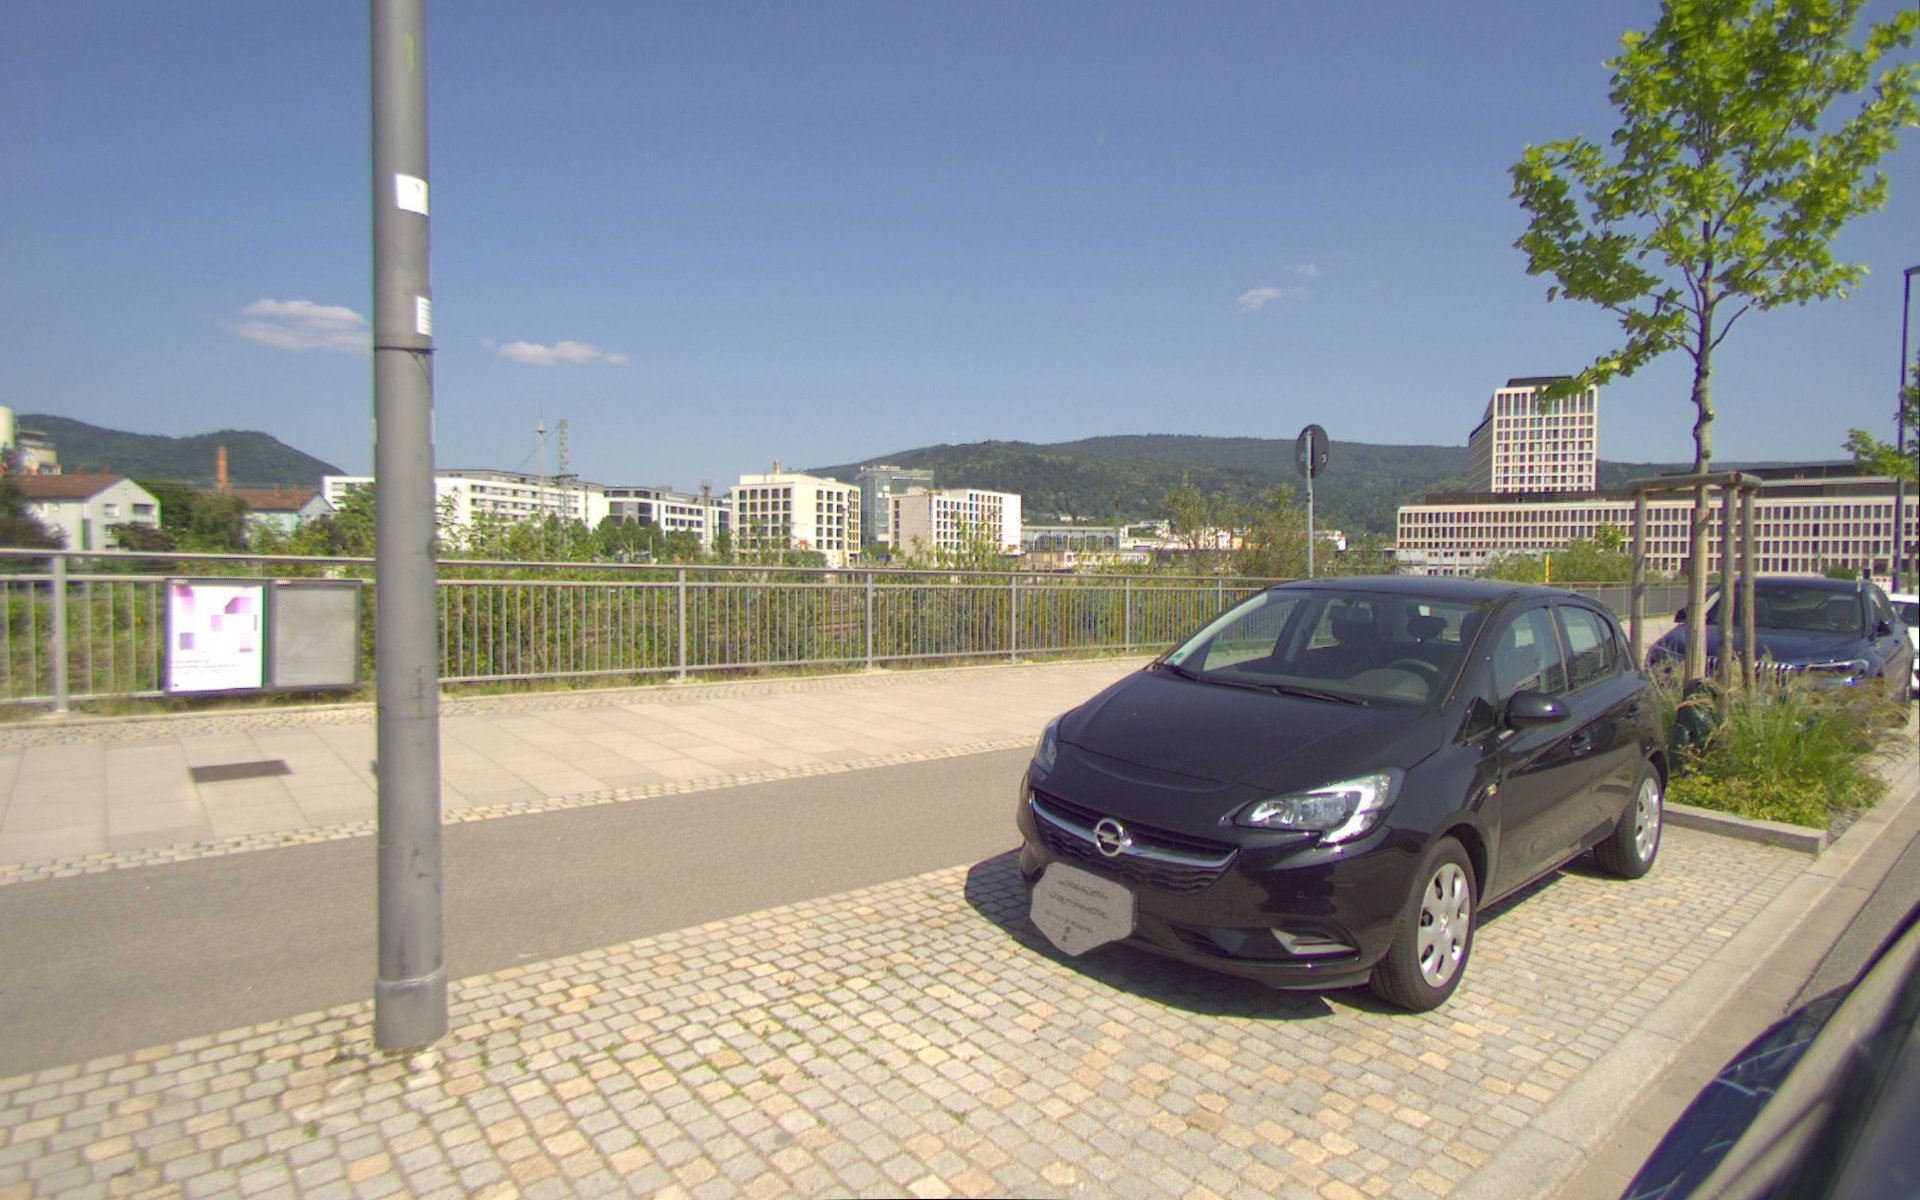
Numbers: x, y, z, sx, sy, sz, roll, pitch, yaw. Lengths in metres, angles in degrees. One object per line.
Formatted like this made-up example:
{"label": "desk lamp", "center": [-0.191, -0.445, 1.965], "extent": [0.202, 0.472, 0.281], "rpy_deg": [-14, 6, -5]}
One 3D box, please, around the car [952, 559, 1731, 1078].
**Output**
{"label": "car", "center": [2.010, 0.570, 4.737], "extent": [3.929, 1.444, 1.664], "rpy_deg": [-1, 3, -40]}

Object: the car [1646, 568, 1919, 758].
{"label": "car", "center": [8.961, 0.514, 10.711], "extent": [4.163, 1.627, 1.768], "rpy_deg": [-1, 0, -40]}

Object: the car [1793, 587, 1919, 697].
{"label": "car", "center": [14.028, 0.541, 15.196], "extent": [3.929, 1.473, 1.663], "rpy_deg": [-1, 0, -40]}
